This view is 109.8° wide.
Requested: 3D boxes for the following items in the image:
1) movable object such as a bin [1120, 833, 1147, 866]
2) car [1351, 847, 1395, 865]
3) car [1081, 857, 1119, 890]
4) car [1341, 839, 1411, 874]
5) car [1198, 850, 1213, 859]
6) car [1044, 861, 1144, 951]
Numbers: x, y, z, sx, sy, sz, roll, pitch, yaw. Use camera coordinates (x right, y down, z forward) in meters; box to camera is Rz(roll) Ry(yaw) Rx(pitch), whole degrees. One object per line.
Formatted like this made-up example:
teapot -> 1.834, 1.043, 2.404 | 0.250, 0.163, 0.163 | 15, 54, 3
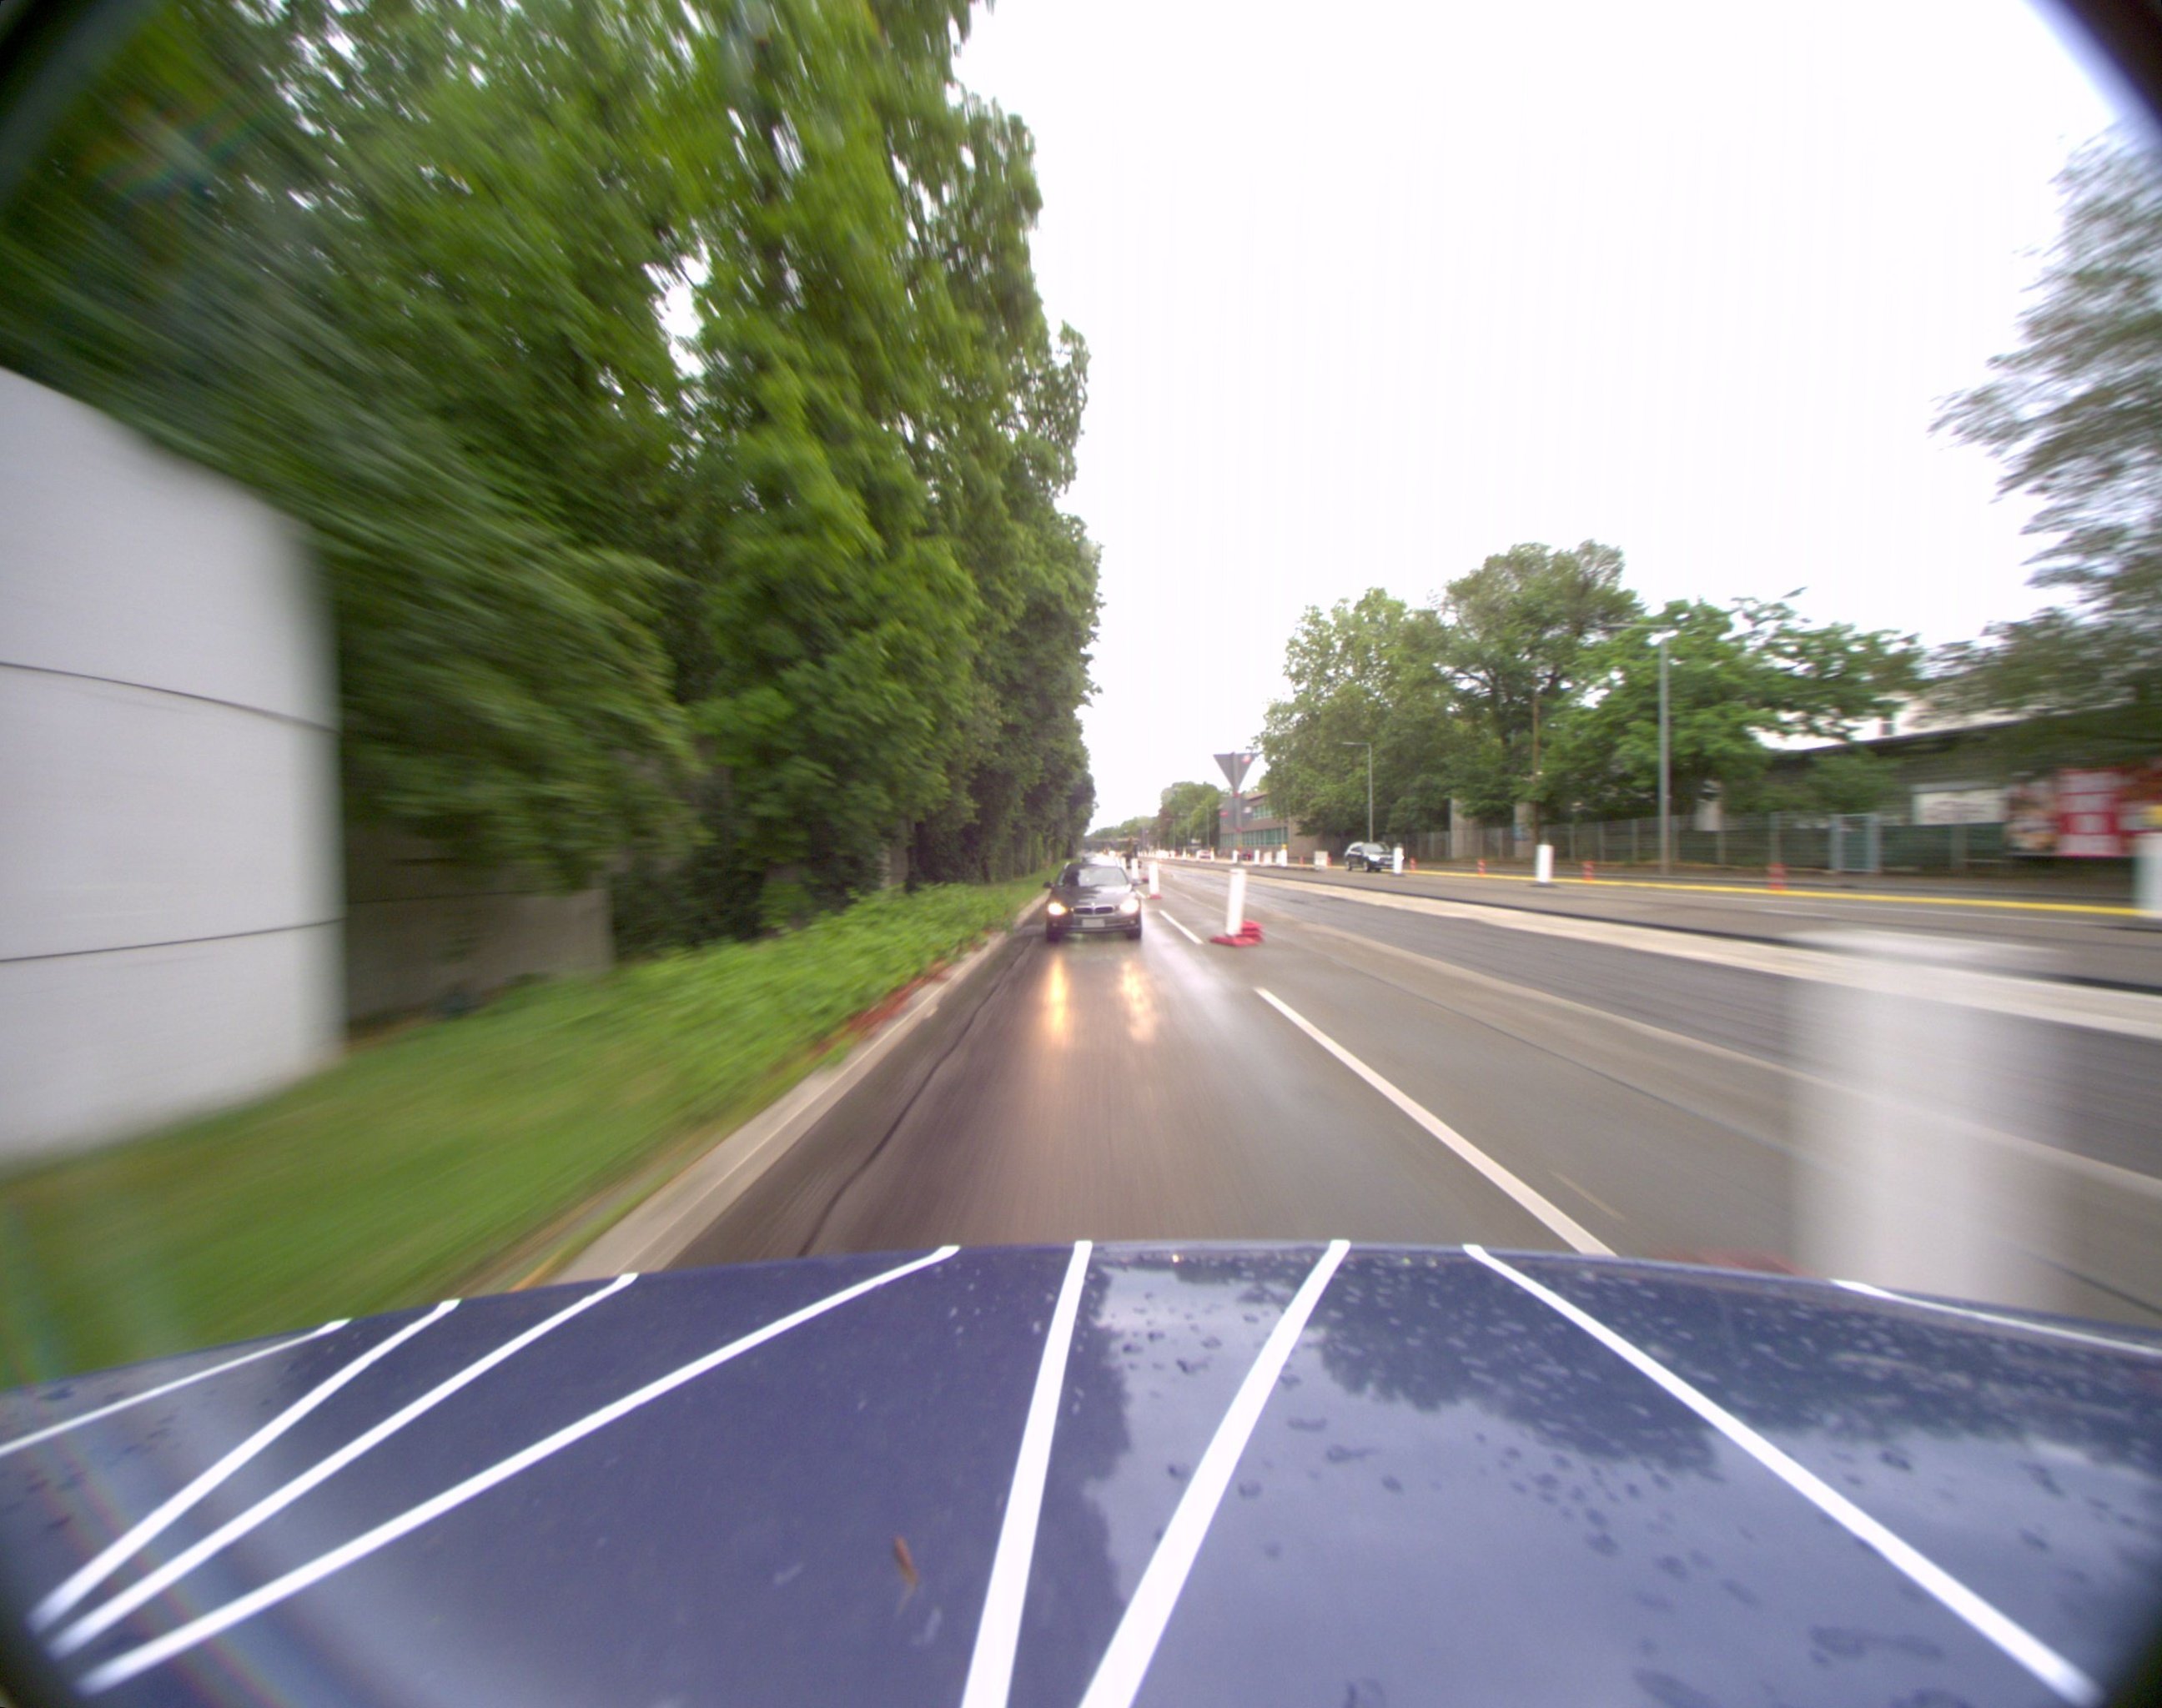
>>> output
movable object such as a bin -> 5.173, -0.470, 75.615 | 1.999, 3.084, 5.623 | -2, 1, -2
car -> 22.108, 0.140, 57.728 | 1.671, 1.307, 4.455 | 1, 0, 1
car -> 0.957, 0.914, 37.775 | 1.742, 1.454, 4.458 | -2, 1, 1
car -> 15.942, 0.147, 41.416 | 1.998, 1.696, 4.985 | 2, 0, 2
car -> 20.513, 0.062, 125.172 | 1.841, 1.426, 4.148 | -2, 1, 1
car -> 0.275, 0.942, 15.654 | 1.742, 1.454, 4.458 | -2, 1, 1
